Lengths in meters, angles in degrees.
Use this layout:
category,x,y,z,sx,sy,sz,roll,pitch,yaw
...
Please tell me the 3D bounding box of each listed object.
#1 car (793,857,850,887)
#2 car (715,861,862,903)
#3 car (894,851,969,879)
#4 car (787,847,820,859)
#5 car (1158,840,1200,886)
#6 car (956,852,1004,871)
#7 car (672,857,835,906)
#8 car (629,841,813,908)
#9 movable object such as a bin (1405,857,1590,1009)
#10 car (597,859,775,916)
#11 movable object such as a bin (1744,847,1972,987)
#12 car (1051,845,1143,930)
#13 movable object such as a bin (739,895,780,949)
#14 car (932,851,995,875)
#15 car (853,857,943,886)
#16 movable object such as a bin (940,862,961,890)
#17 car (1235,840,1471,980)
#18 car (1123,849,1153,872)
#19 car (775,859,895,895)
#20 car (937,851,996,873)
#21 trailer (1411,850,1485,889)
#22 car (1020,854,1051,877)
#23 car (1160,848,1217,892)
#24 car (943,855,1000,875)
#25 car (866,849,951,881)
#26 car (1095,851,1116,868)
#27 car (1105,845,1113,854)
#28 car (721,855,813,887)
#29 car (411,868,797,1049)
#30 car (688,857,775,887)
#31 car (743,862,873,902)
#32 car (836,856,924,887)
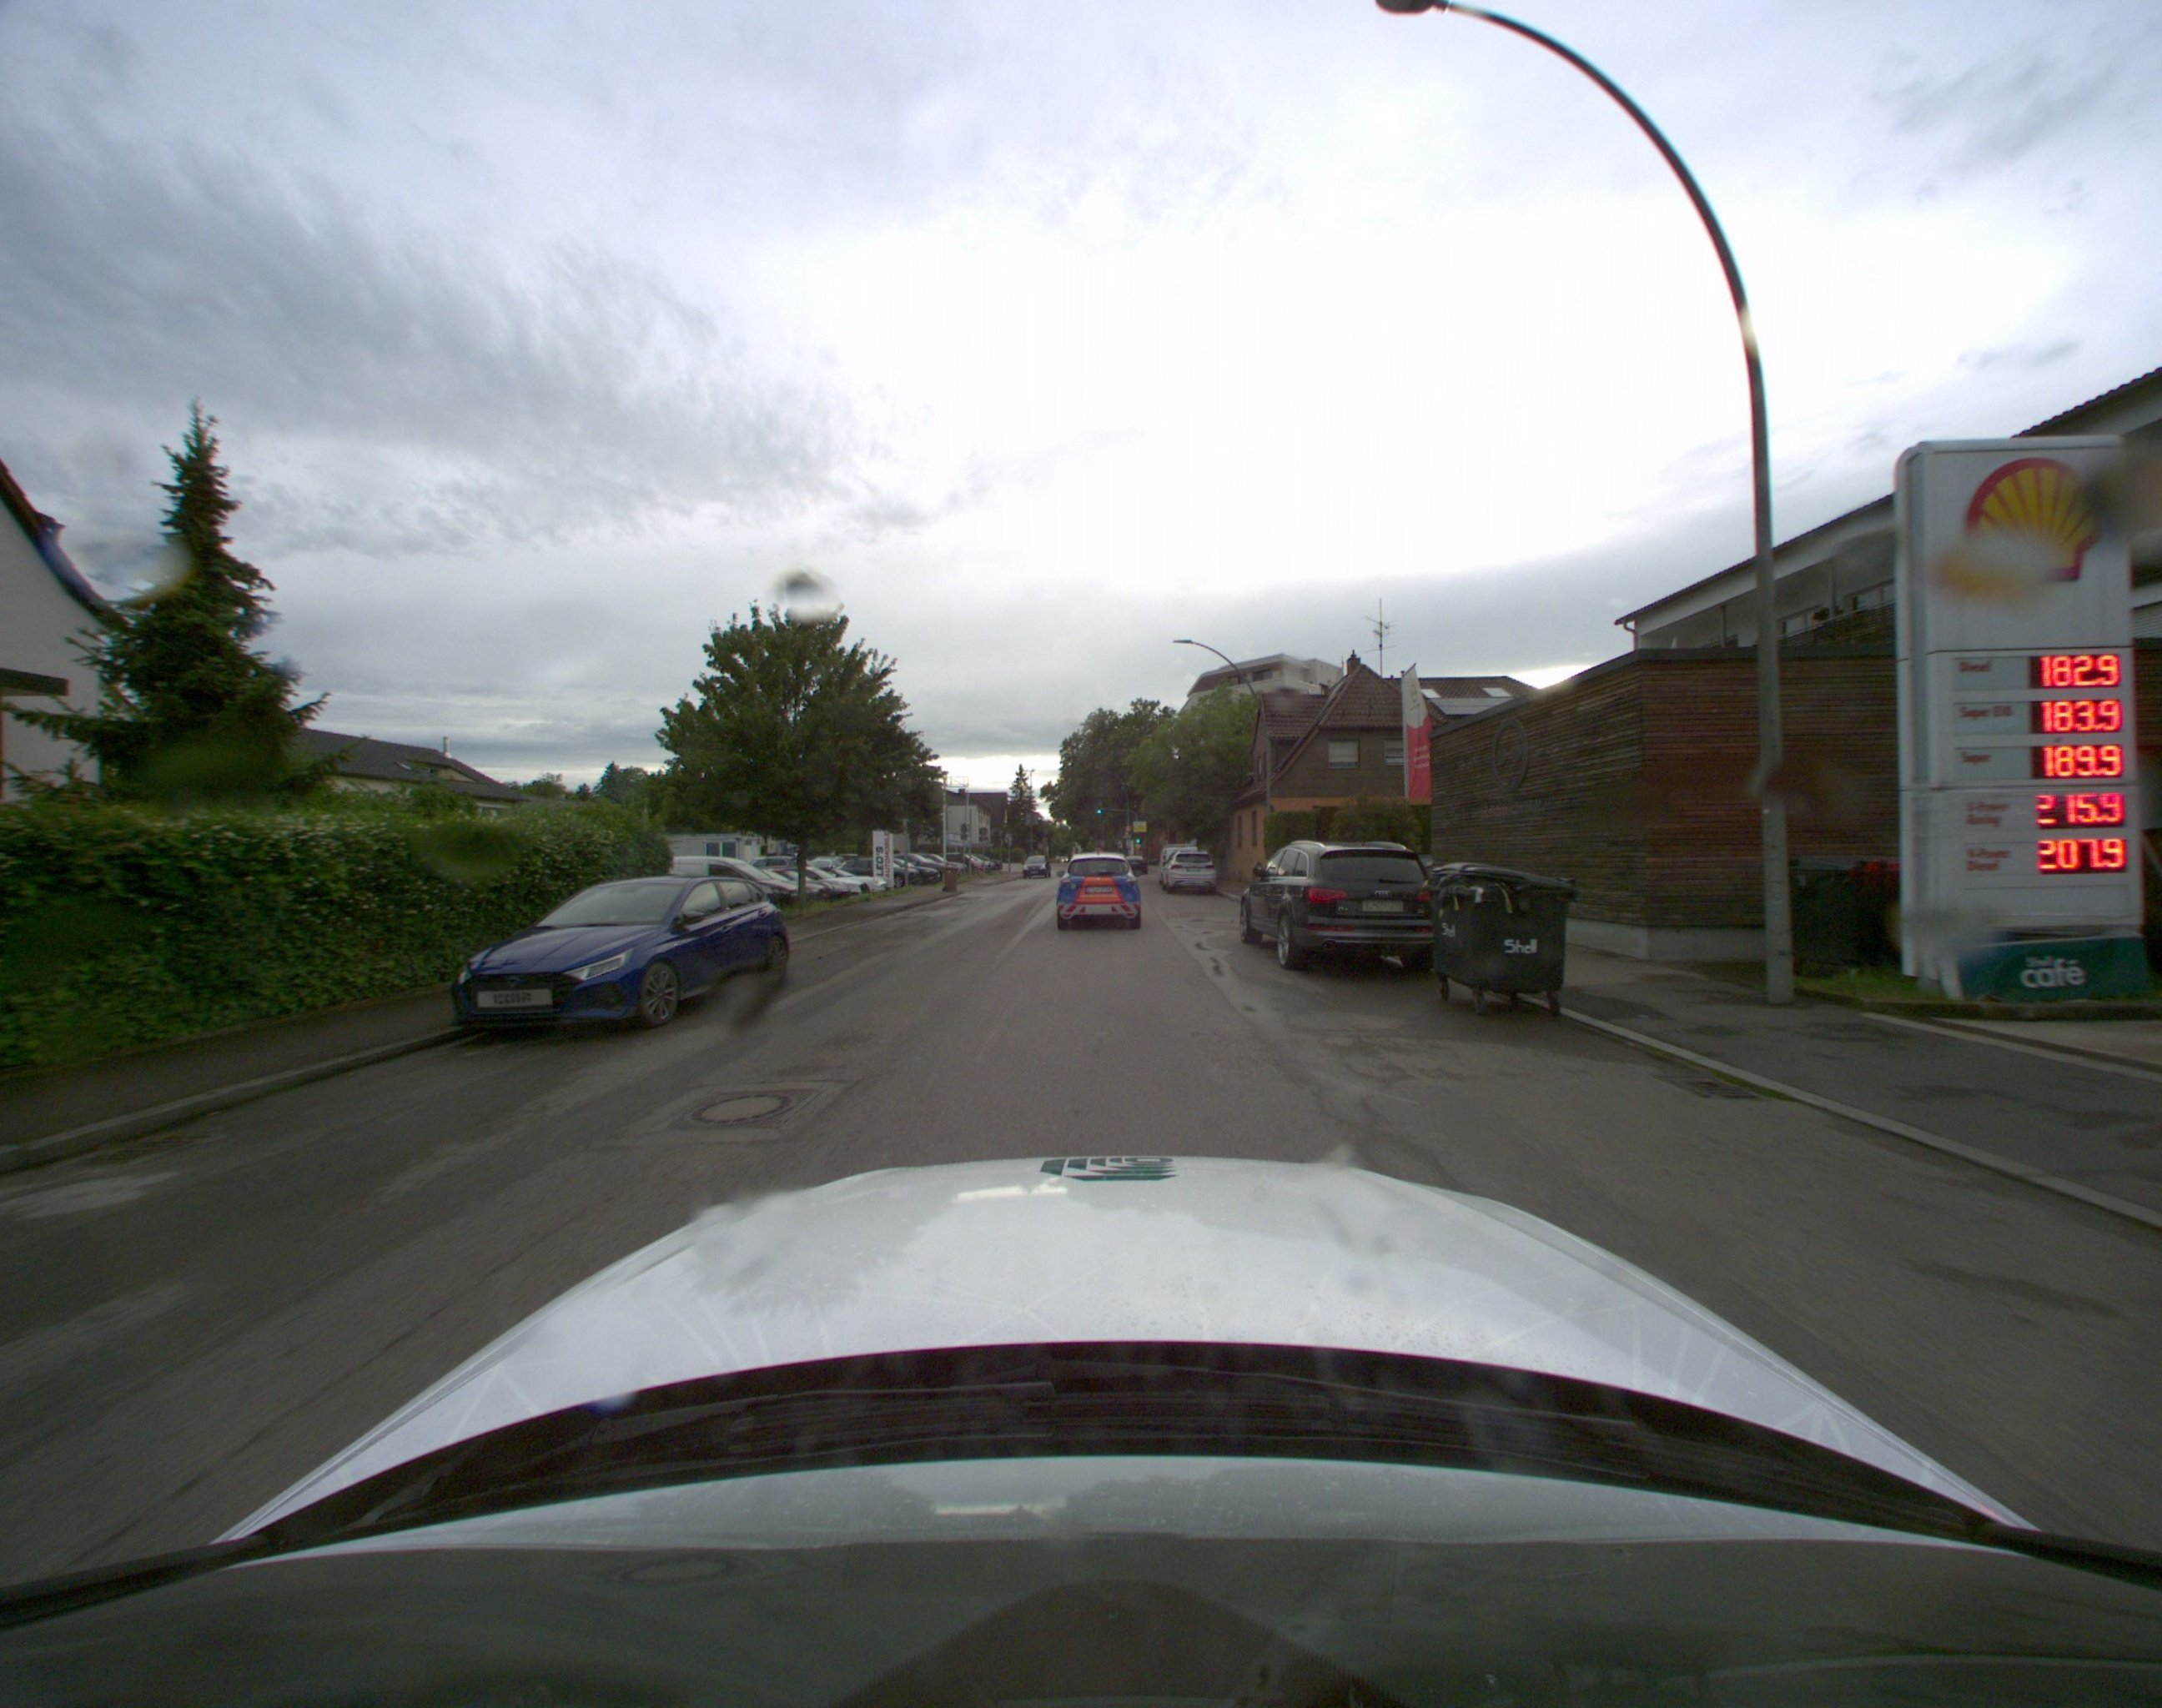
category,x,y,z,sx,sy,sz,roll,pitch,yaw
car,-14.442,0.961,45.507,1.684,1.530,4.002,-2,0,2
car,-10.453,0.998,29.319,4.541,1.309,1.890,-2,0,1
car,-9.529,0.700,52.094,4.330,1.690,1.960,-1,0,2
car,-39.550,-0.155,116.090,1.974,1.723,4.025,1,1,39
car,4.628,0.364,39.014,1.770,2.029,4.760,0,1,4
car,-8.541,0.633,68.893,3.944,1.530,1.618,0,1,-9
car,-10.651,0.866,26.748,4.546,1.418,1.896,-2,0,-3
car,-10.568,0.572,24.197,4.546,1.790,1.896,-2,0,-3
movable object such as a bin,4.227,0.746,8.426,1.123,1.388,1.503,-2,0,0
car,-10.593,0.869,22.043,3.902,1.372,1.760,-2,0,-3
movable object such as a bin,8.178,0.610,8.672,1.098,1.339,1.384,-2,0,0
car,0.374,0.634,17.892,1.739,1.581,4.002,-2,1,2
movable object such as a bin,-5.788,1.215,14.664,0.538,0.911,0.424,1,0,0
car,-8.106,0.613,56.464,3.969,1.544,1.806,0,1,4
car,-9.903,0.925,44.283,4.330,1.464,1.942,-1,0,2
movable object such as a bin,-5.521,0.924,34.513,0.705,1.130,0.735,-1,0,2
car,3.693,0.633,12.050,2.083,1.661,4.561,0,1,1
car,3.989,0.434,57.812,1.986,1.574,4.002,0,1,2
car,-10.253,0.939,34.186,4.435,1.331,1.772,-2,0,1
car,-8.333,0.607,59.382,3.969,1.544,1.806,0,1,4
trailer,11.667,0.480,25.929,1.911,1.034,0.919,-5,0,-4
car,-3.075,0.764,55.405,1.619,1.433,3.687,-2,0,3
car,4.278,0.597,32.990,1.859,1.665,4.321,-1,0,1
car,-8.321,0.807,61.946,3.969,1.441,1.806,0,1,4
car,-9.897,0.611,46.948,4.330,1.691,2.060,-1,0,2
car,2.254,0.492,76.314,1.789,1.428,3.998,0,1,-2
car,5.982,-0.948,175.069,1.638,2.017,3.714,-1,1,-1
car,-15.740,0.857,40.826,3.953,1.499,1.947,-1,0,20
car,-4.849,0.943,9.065,1.800,1.403,3.946,-3,0,2
car,-19.516,0.983,45.597,3.975,1.530,1.837,-2,0,-1
car,-10.562,1.053,31.740,4.360,1.374,1.890,-2,0,1
car,-10.304,0.893,41.929,3.971,1.464,1.840,-1,0,2
